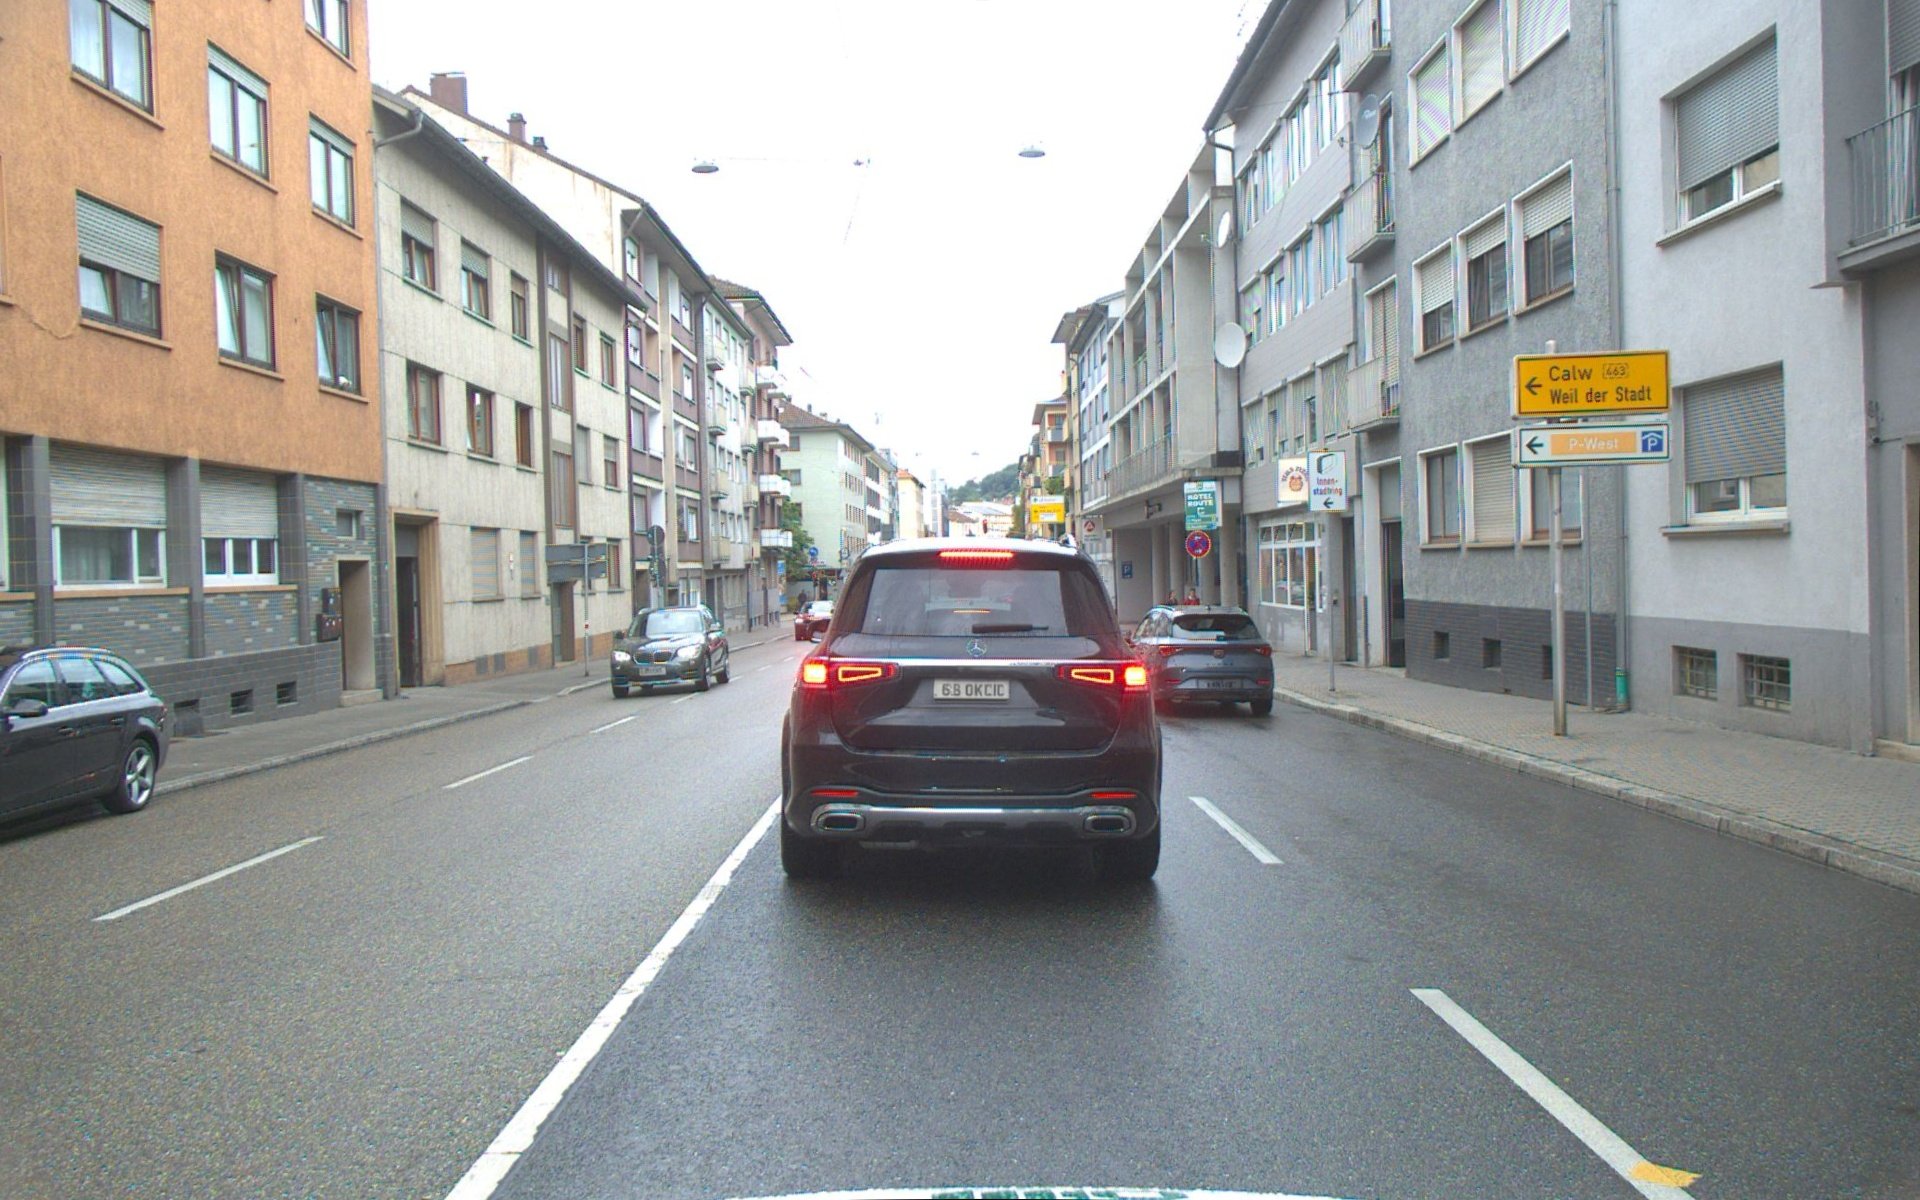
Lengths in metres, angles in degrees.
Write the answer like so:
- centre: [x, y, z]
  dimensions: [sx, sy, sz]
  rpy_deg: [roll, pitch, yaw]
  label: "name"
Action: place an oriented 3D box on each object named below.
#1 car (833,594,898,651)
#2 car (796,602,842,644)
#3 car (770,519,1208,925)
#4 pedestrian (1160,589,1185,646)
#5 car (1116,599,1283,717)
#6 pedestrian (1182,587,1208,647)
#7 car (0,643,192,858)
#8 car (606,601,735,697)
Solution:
- centre: [-3.212, 0.726, 56.968]
  dimensions: [1.798, 1.757, 4.475]
  rpy_deg: [-4, 0, 1]
  label: "car"
- centre: [-6.073, 0.965, 71.629]
  dimensions: [1.762, 1.612, 4.313]
  rpy_deg: [-3, 0, -3]
  label: "car"
- centre: [0.096, 0.558, 9.628]
  dimensions: [1.984, 1.837, 3.999]
  rpy_deg: [1, 0, -1]
  label: "car"
- centre: [5.874, 0.472, 45.754]
  dimensions: [0.496, 1.526, 0.562]
  rpy_deg: [-4, 0, -4]
  label: "pedestrian"
- centre: [3.242, 0.737, 23.121]
  dimensions: [1.588, 1.455, 4.311]
  rpy_deg: [1, 0, -1]
  label: "car"
- centre: [6.500, 0.460, 45.794]
  dimensions: [0.549, 1.606, 0.526]
  rpy_deg: [-4, 0, -2]
  label: "pedestrian"
- centre: [-7.974, 1.153, 13.066]
  dimensions: [1.759, 1.463, 4.526]
  rpy_deg: [1, 0, -1]
  label: "car"
- centre: [-5.321, 0.858, 30.867]
  dimensions: [1.669, 1.533, 4.158]
  rpy_deg: [-4, 0, -1]
  label: "car"
